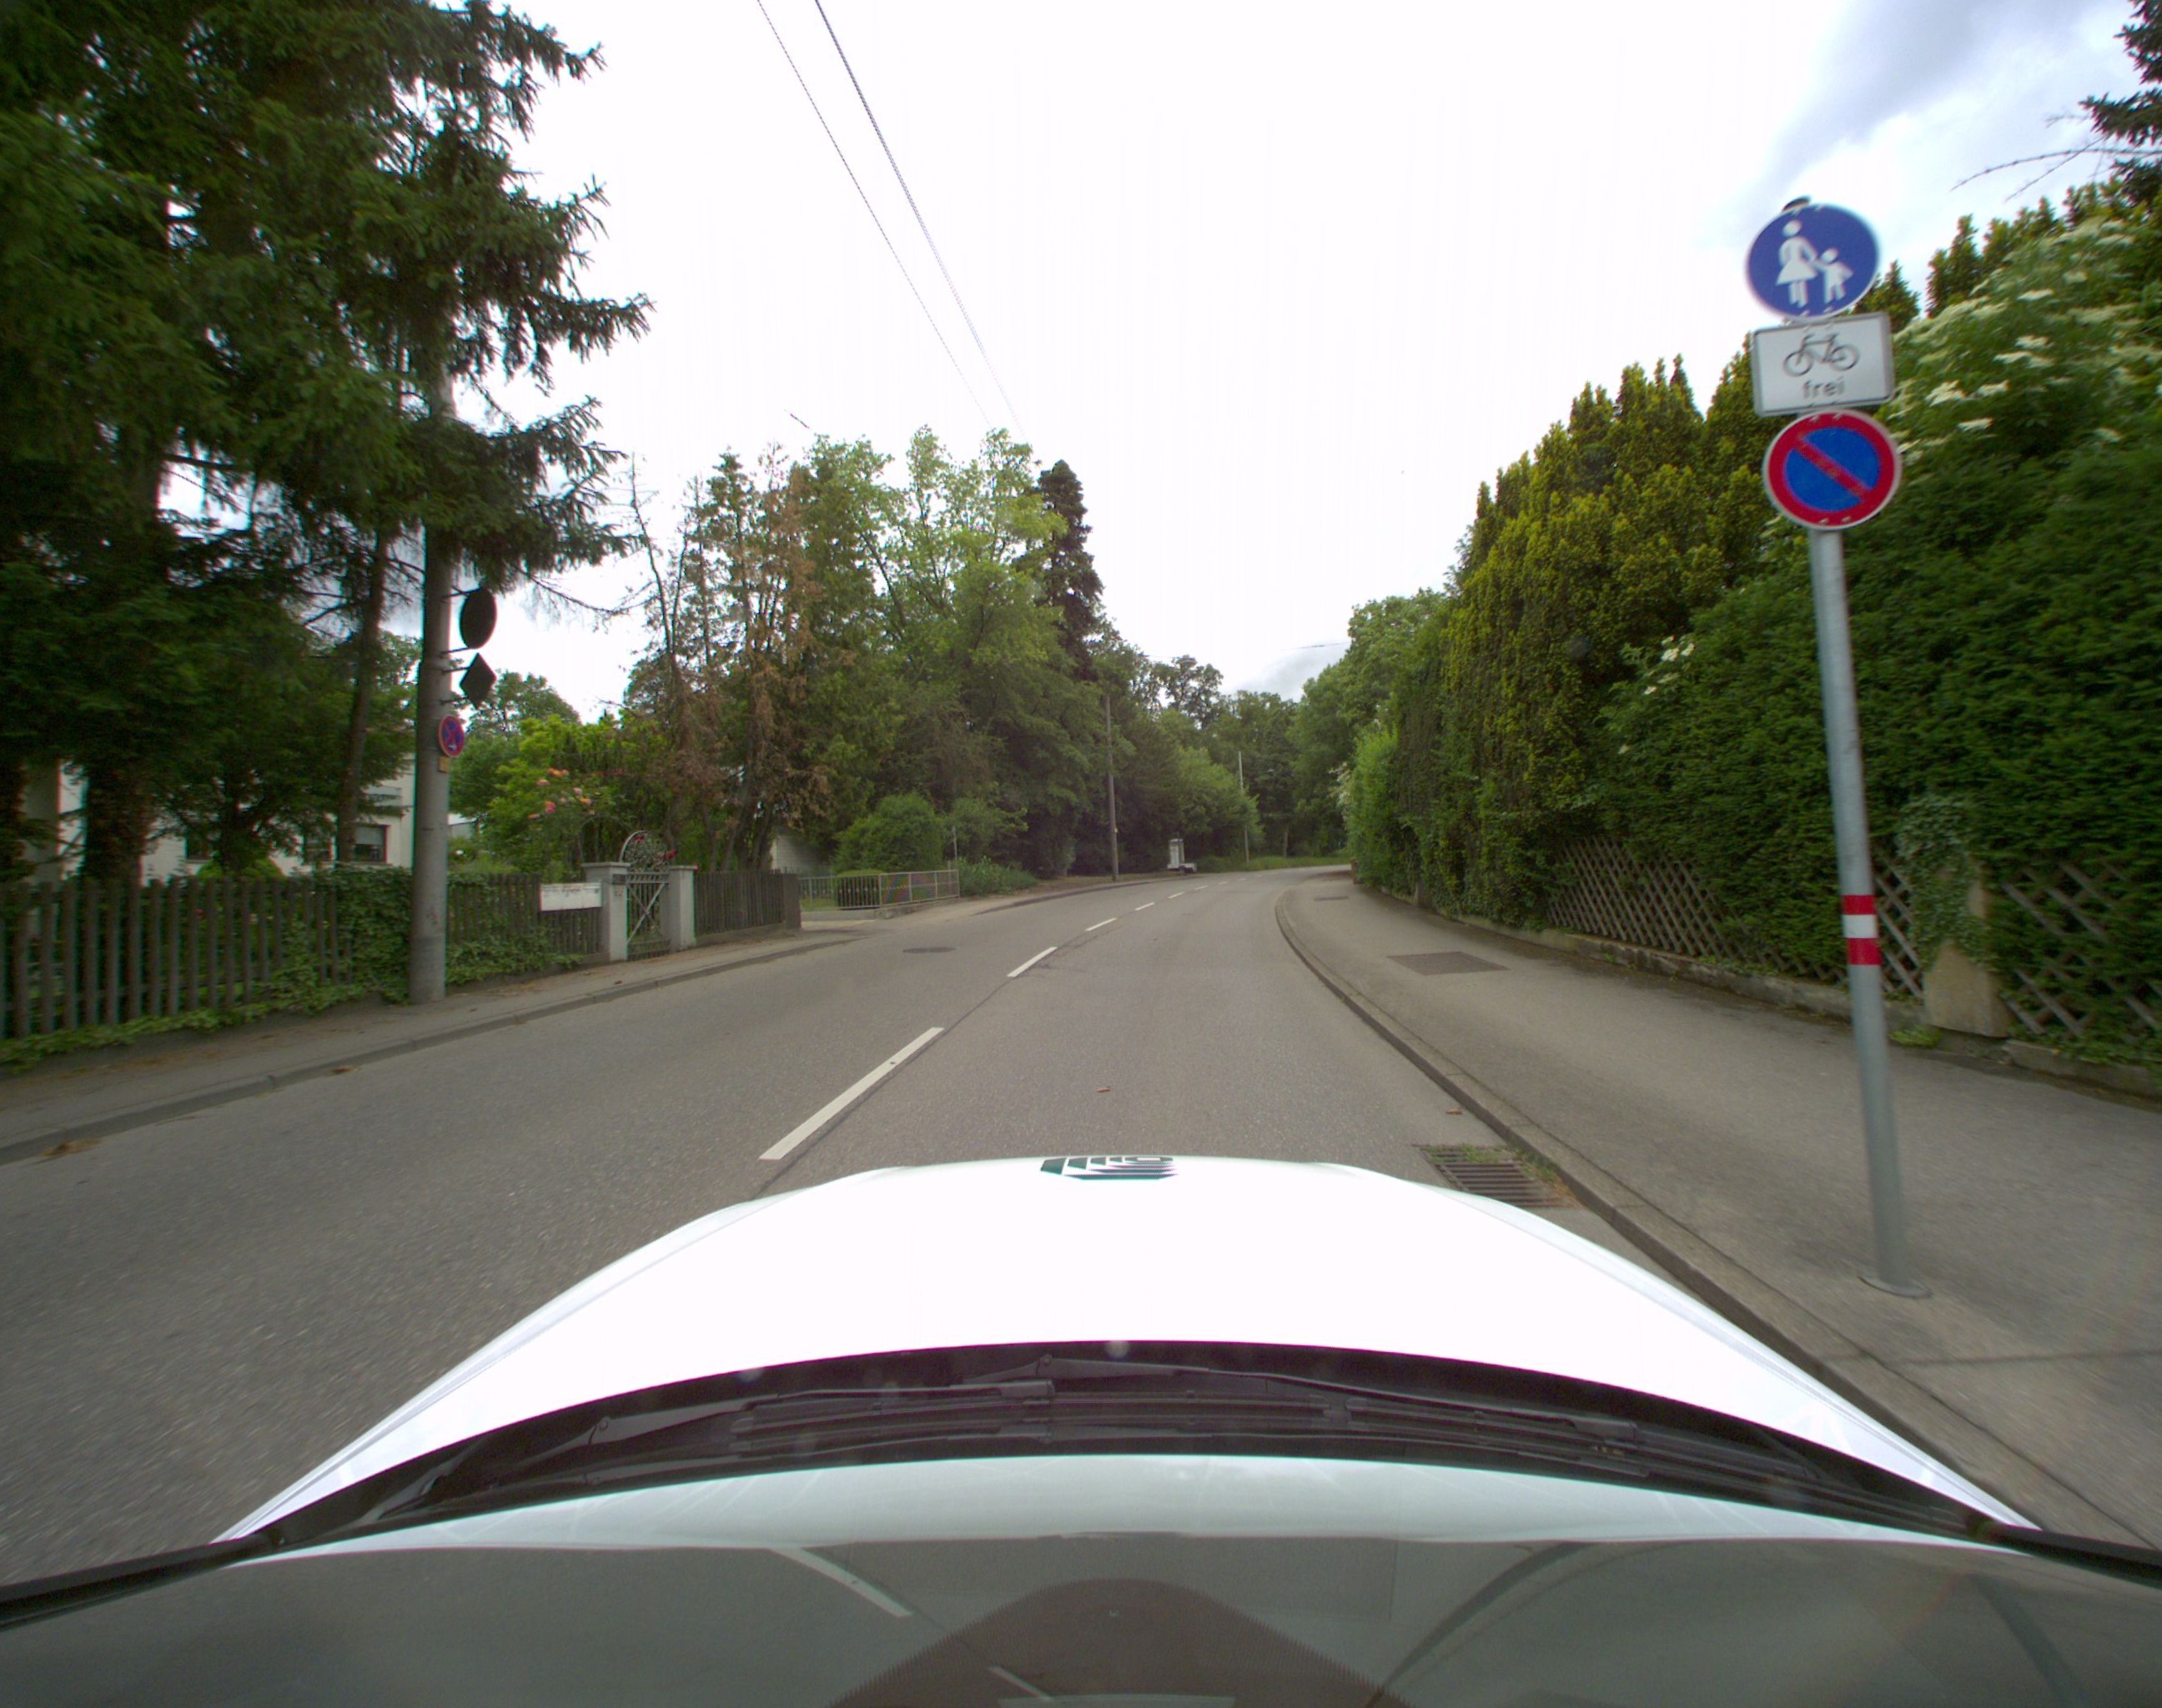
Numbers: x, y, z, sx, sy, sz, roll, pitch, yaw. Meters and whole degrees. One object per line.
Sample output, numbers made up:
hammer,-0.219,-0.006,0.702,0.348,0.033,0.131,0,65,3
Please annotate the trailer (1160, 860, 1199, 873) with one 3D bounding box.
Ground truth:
trailer,7.776,0.993,64.093,2.936,0.829,1.480,-3,-1,11
